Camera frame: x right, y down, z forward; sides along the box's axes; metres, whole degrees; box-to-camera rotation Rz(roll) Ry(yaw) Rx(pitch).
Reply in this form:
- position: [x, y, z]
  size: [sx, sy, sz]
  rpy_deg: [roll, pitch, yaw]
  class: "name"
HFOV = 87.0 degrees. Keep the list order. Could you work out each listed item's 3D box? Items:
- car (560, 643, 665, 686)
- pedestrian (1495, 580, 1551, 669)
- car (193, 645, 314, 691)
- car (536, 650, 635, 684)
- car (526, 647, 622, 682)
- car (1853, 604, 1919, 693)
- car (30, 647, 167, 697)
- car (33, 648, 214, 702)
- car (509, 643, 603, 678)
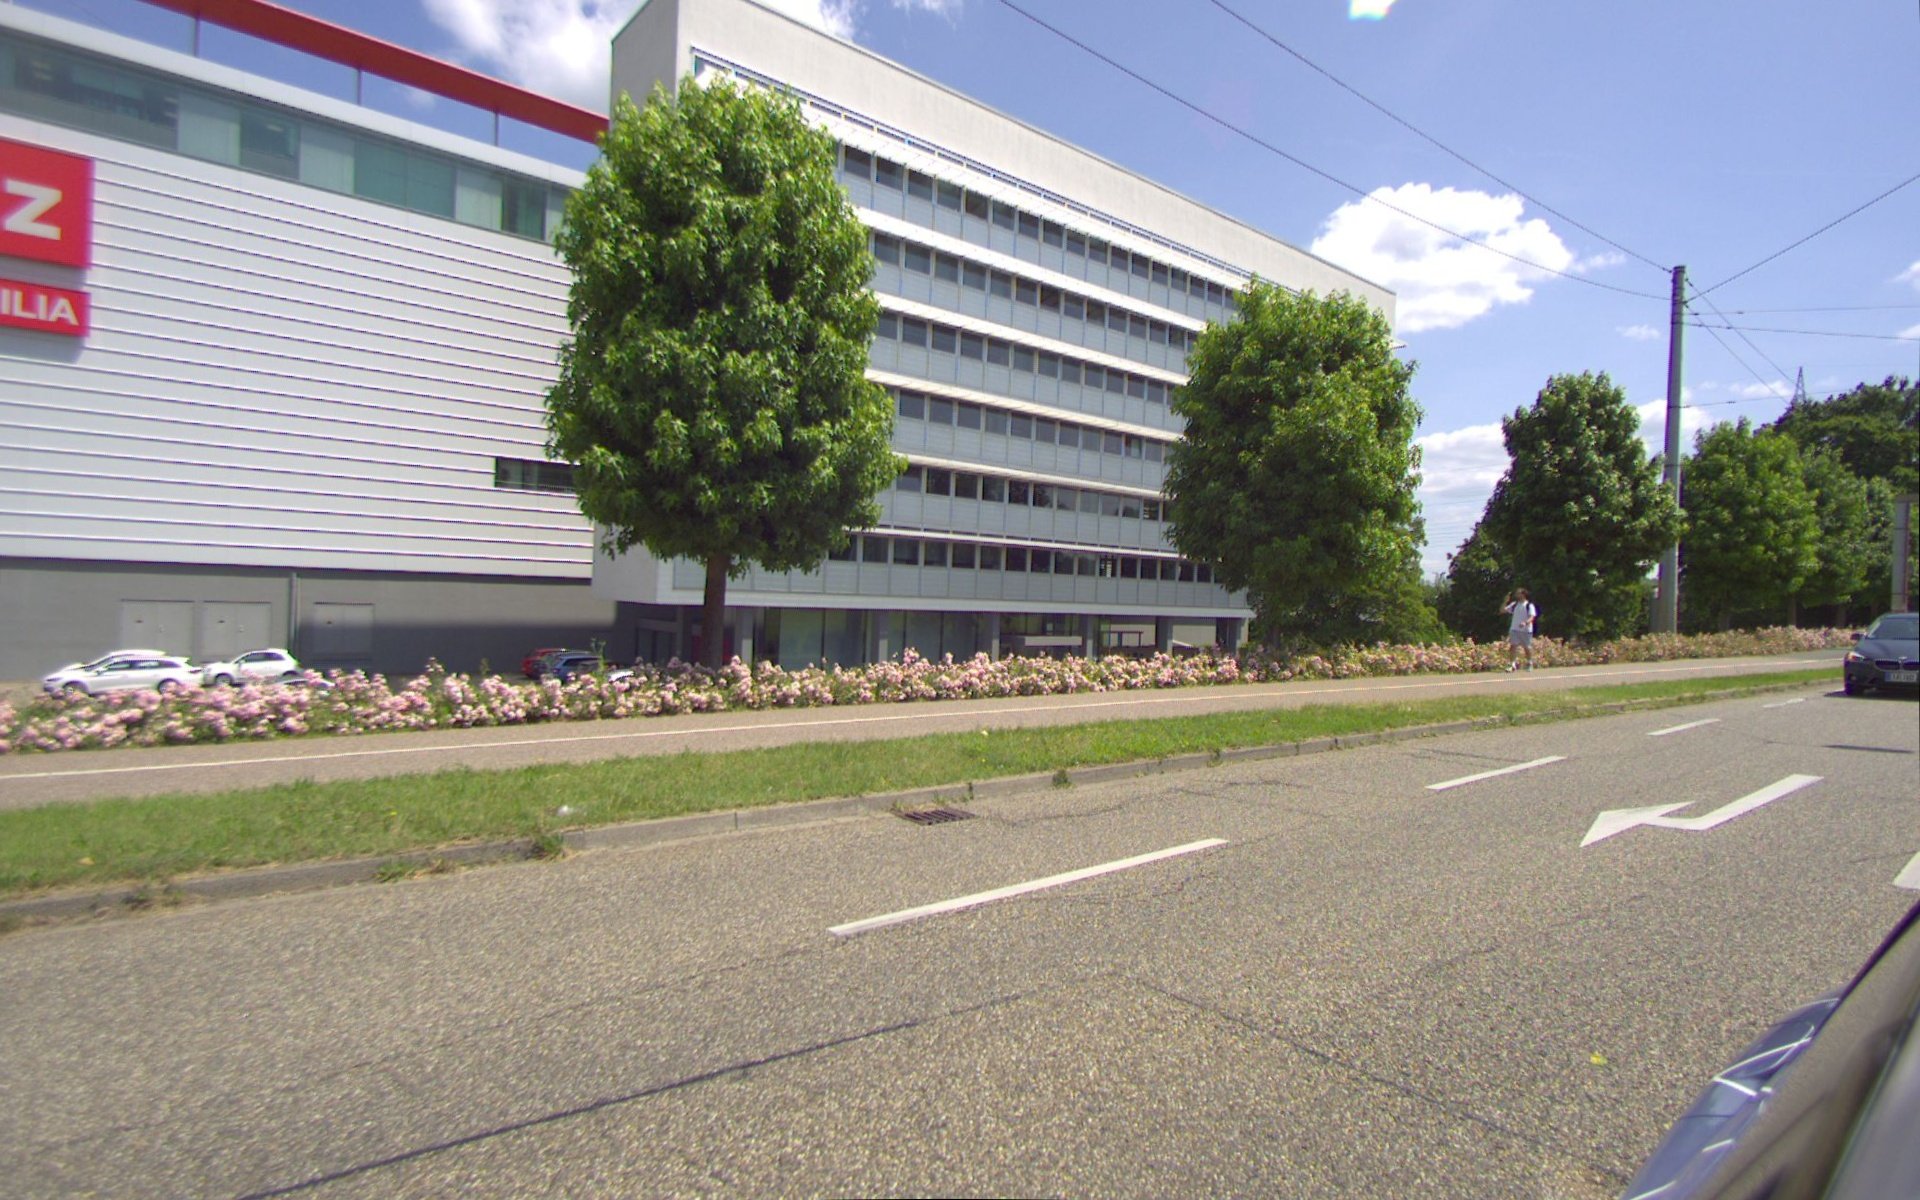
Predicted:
- position: [-15.321, 2.811, 44.720]
  size: [3.930, 1.632, 1.997]
  rpy_deg: [0, 0, -41]
  class: "car"
- position: [12.123, 0.521, 21.788]
  size: [0.913, 1.872, 0.758]
  rpy_deg: [1, -1, -38]
  class: "pedestrian"
- position: [-29.364, 2.774, 42.111]
  size: [3.930, 1.632, 1.997]
  rpy_deg: [0, 0, -41]
  class: "car"
- position: [-17.059, 3.035, 46.219]
  size: [3.930, 1.338, 1.607]
  rpy_deg: [0, 0, -41]
  class: "car"
- position: [-18.214, 3.028, 47.838]
  size: [3.930, 1.403, 1.646]
  rpy_deg: [0, 0, -41]
  class: "car"
- position: [18.130, 0.852, 18.776]
  size: [4.027, 1.546, 1.764]
  rpy_deg: [1, -1, -40]
  class: "car"
- position: [-33.140, 2.719, 39.050]
  size: [3.930, 1.632, 1.997]
  rpy_deg: [0, 0, -41]
  class: "car"
- position: [-30.848, 2.714, 37.478]
  size: [5.057, 1.632, 1.997]
  rpy_deg: [0, 0, -41]
  class: "car"
- position: [-20.037, 2.974, 50.263]
  size: [3.930, 1.465, 1.997]
  rpy_deg: [0, 0, -41]
  class: "car"
